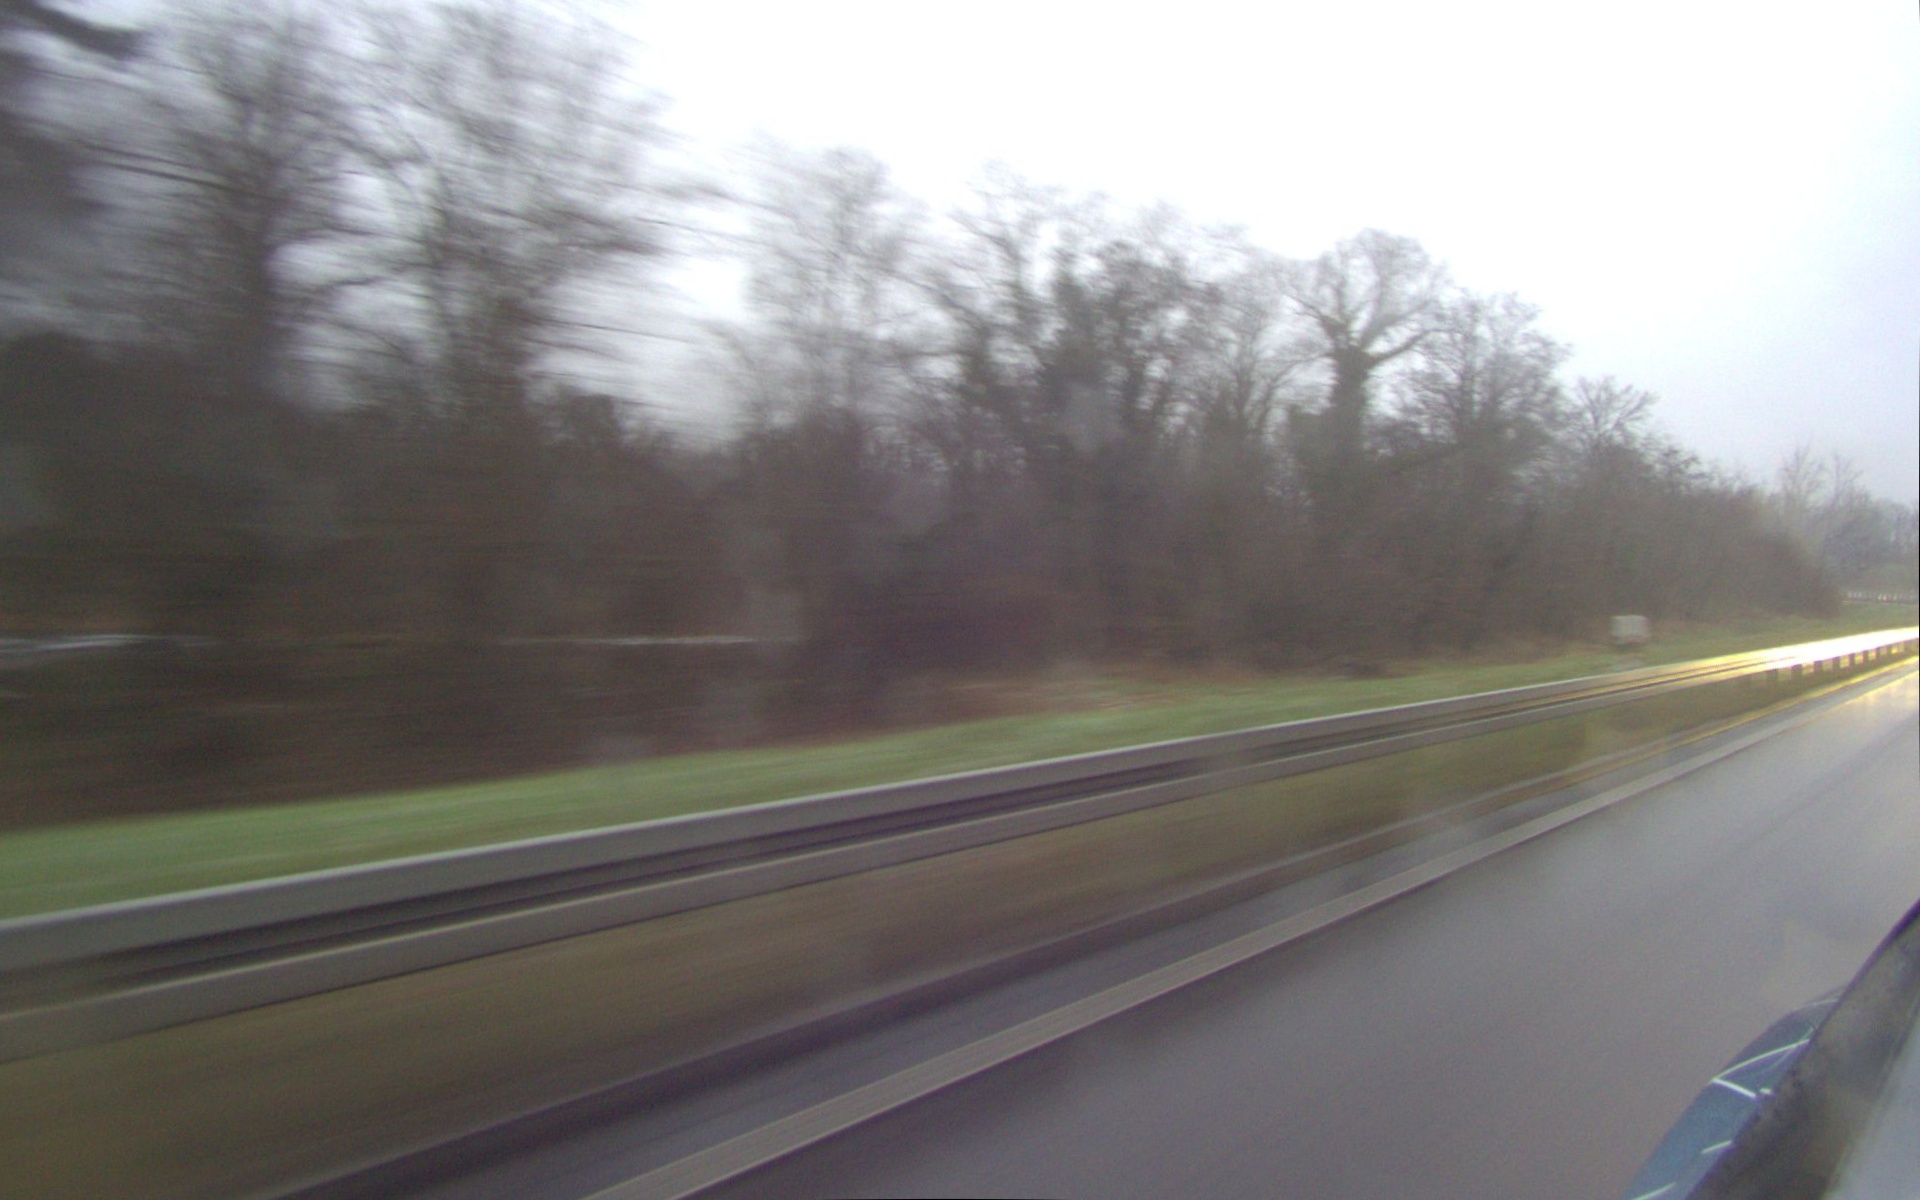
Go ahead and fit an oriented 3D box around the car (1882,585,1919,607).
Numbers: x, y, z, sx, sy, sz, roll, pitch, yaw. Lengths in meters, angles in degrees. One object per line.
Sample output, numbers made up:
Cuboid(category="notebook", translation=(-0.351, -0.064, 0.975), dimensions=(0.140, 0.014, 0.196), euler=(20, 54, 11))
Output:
Cuboid(category="car", translation=(92.650, -0.408, 98.871), dimensions=(1.970, 2.039, 4.213), euler=(1, 1, 13))
